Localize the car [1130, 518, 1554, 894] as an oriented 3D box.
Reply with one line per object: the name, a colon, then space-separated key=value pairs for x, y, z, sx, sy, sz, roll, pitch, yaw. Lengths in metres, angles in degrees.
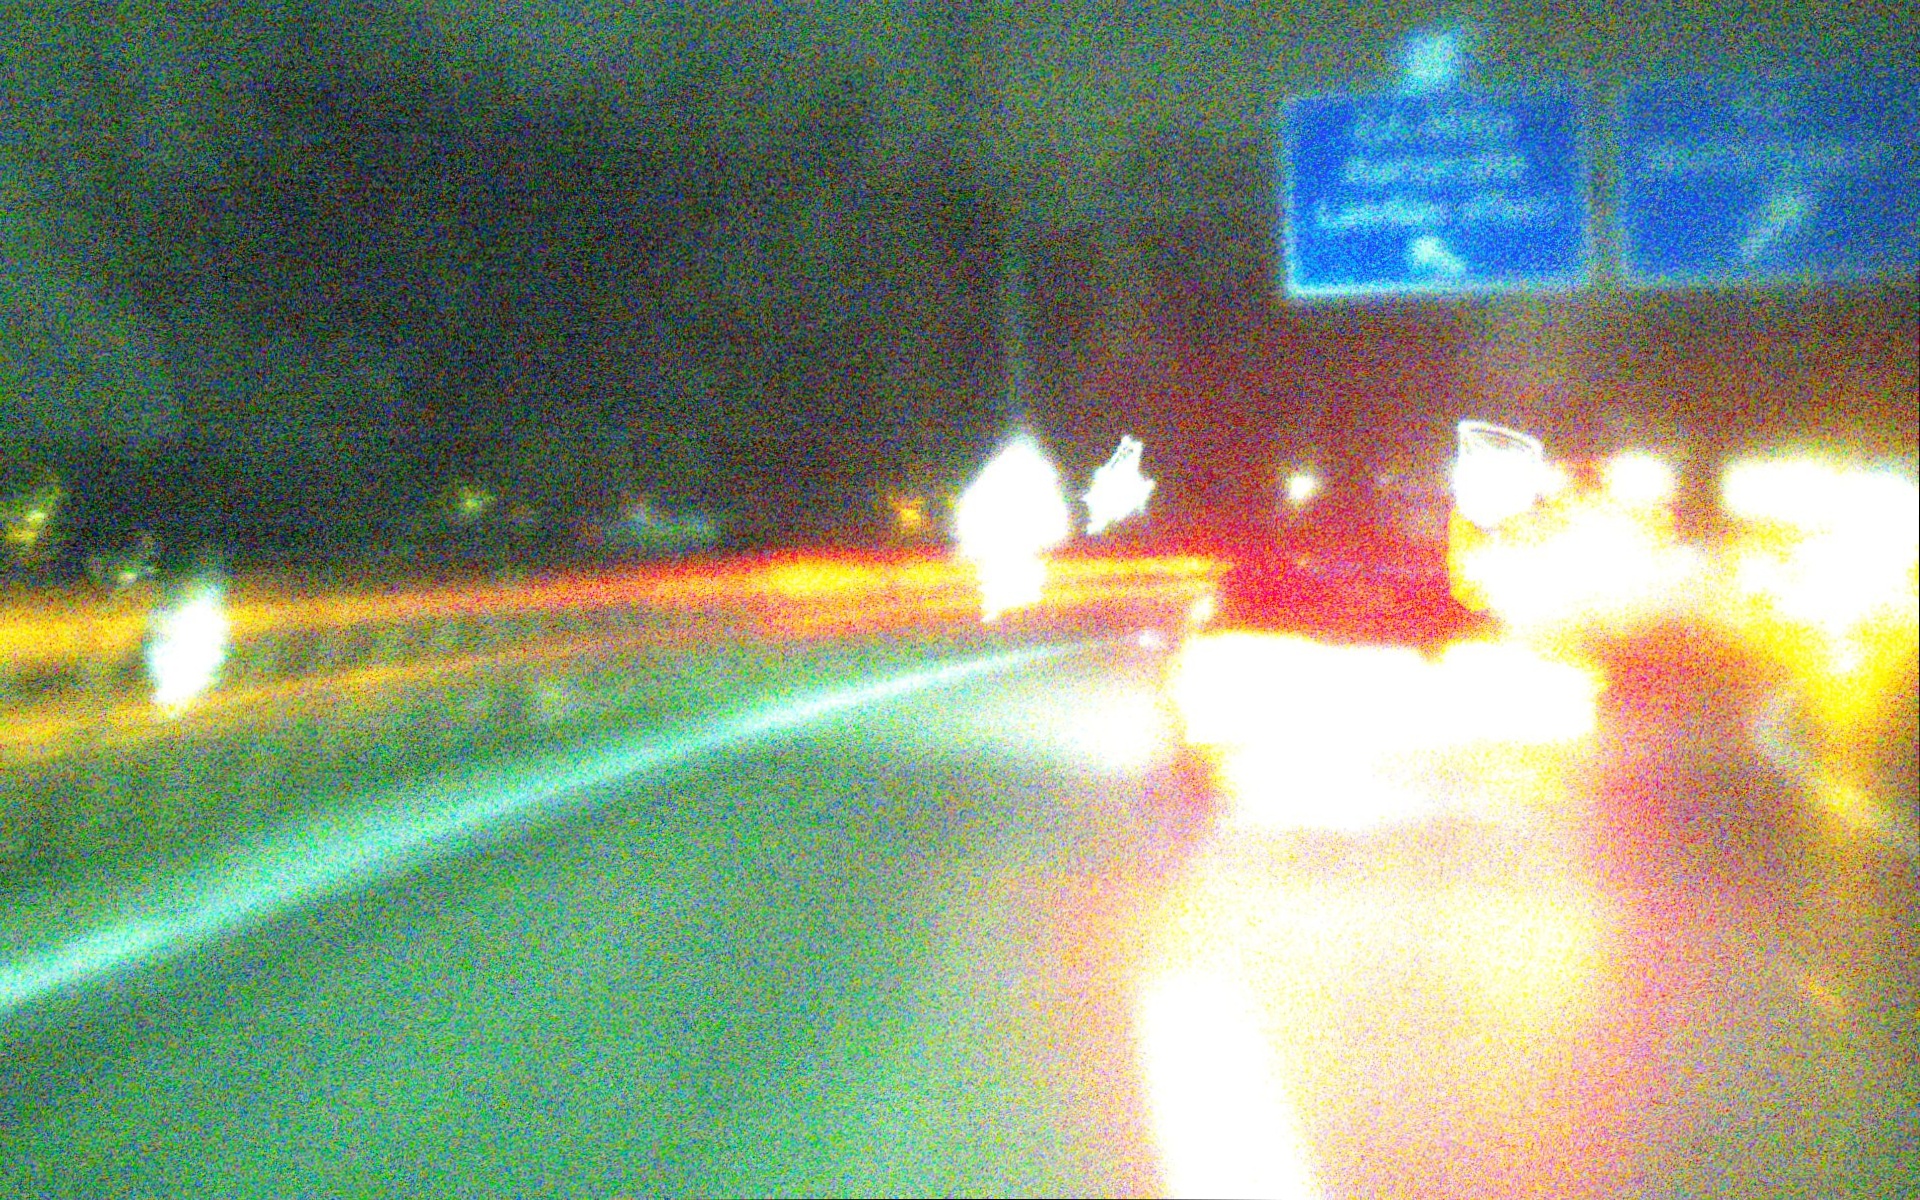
car: x=1.828 y=0.449 z=17.602 sx=1.861 sy=1.641 sz=4.068 roll=2 pitch=1 yaw=3

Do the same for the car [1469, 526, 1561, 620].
car: x=12.293 y=-0.589 z=76.015 sx=1.896 sy=2.033 sz=4.044 roll=0 pitch=0 yaw=11

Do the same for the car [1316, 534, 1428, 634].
car: x=7.337 y=-0.279 z=60.940 sx=1.896 sy=1.715 sz=4.044 roll=0 pitch=0 yaw=8

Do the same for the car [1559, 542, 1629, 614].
car: x=17.927 y=-0.622 z=97.363 sx=1.896 sy=1.991 sz=4.044 roll=0 pitch=0 yaw=10
